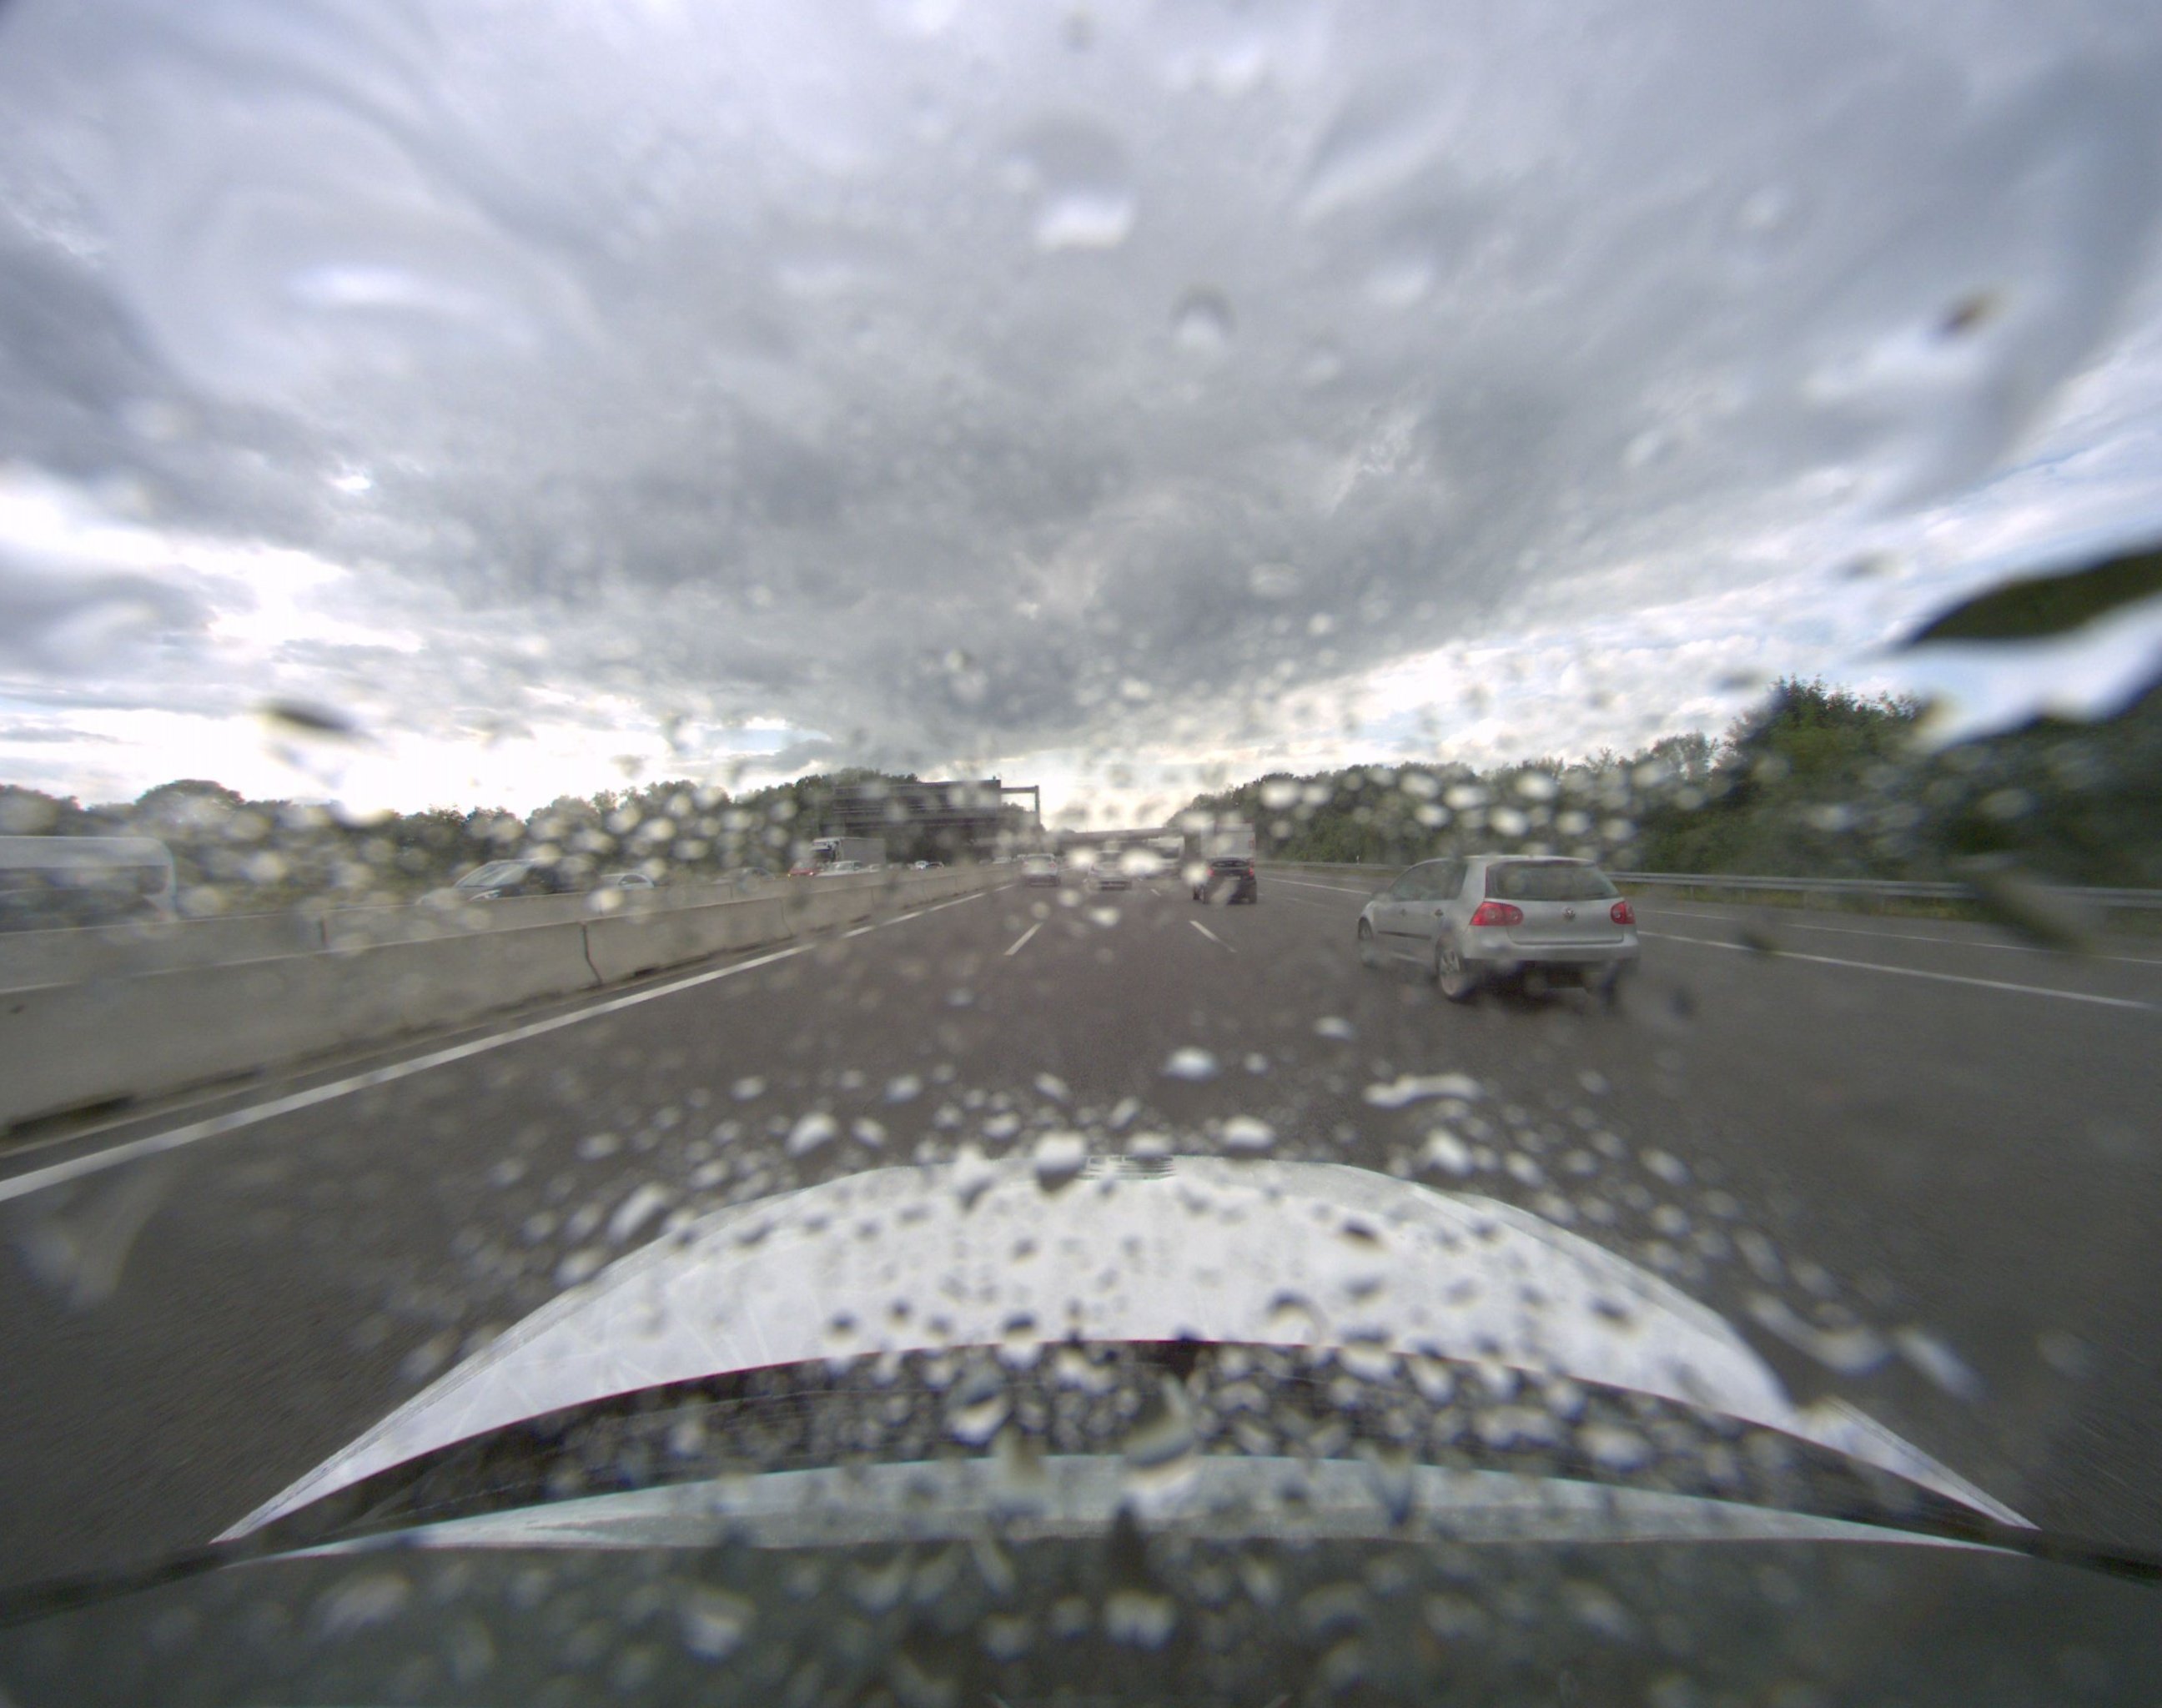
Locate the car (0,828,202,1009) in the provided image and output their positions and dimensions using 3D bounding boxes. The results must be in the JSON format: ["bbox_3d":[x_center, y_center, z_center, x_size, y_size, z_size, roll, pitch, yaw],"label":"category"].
[{"bbox_3d":[-20.956,1.192,14.849,2.651,3.277,6.563,-1,0,1],"label":"car"}]

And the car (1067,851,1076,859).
[{"bbox_3d":[-2.688,0.380,231.900,1.985,2.181,5.293,-1,0,3],"label":"car"}]

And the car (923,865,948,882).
[{"bbox_3d":[-17.407,2.326,97.798,1.986,1.891,4.364,-1,0,2],"label":"car"}]

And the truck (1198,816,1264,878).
[{"bbox_3d":[9.725,-0.420,53.899,3.120,3.709,9.856,-1,0,3],"label":"truck"}]

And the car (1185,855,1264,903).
[{"bbox_3d":[4.565,0.743,26.434,1.878,1.407,4.283,-1,0,1],"label":"car"}]

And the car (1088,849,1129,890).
[{"bbox_3d":[1.230,0.675,37.517,1.774,1.716,4.353,-1,0,1],"label":"car"}]

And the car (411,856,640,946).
[{"bbox_3d":[-12.596,0.968,18.949,1.986,1.781,4.675,-1,0,2],"label":"car"}]

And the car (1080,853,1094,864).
[{"bbox_3d":[0.799,0.568,111.604,1.774,1.481,4.355,-1,0,2],"label":"car"}]

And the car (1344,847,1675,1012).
[{"bbox_3d":[4.549,0.687,9.435,1.789,1.477,4.039,-1,0,1],"label":"car"}]

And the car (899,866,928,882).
[{"bbox_3d":[-21.526,2.570,104.689,2.421,1.952,4.832,-1,0,3],"label":"car"}]

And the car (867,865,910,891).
[{"bbox_3d":[-15.180,1.888,64.476,1.985,1.873,4.763,-1,0,2],"label":"car"}]

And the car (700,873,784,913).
[{"bbox_3d":[-16.498,1.868,39.876,1.986,1.714,4.701,-1,0,2],"label":"car"}]

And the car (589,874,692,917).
[{"bbox_3d":[-19.935,1.841,37.153,1.986,1.714,4.701,-1,0,2],"label":"car"}]

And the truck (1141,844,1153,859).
[{"bbox_3d":[17.801,-0.655,219.936,2.894,3.810,7.279,-1,0,3],"label":"truck"}]

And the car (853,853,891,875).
[{"bbox_3d":[-18.623,0.860,72.693,1.985,1.873,4.763,-1,0,2],"label":"car"}]

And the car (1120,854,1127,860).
[{"bbox_3d":[11.760,0.777,225.386,1.875,1.686,3.999,-1,0,-1],"label":"car"}]

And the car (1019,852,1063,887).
[{"bbox_3d":[-2.018,0.746,42.305,1.808,1.689,4.854,-1,0,2],"label":"car"}]

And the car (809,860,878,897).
[{"bbox_3d":[-12.178,1.226,42.112,1.986,1.714,4.874,-1,0,2],"label":"car"}]

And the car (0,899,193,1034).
[{"bbox_3d":[-17.297,1.788,12.895,1.986,1.904,4.002,-1,0,2],"label":"car"}]

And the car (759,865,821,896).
[{"bbox_3d":[-19.509,1.742,54.907,1.985,1.873,5.395,-1,0,2],"label":"car"}]

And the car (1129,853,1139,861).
[{"bbox_3d":[11.768,0.612,181.944,2.035,1.823,4.907,-1,0,3],"label":"car"}]

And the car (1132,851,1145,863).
[{"bbox_3d":[9.585,0.490,135.529,2.035,1.823,4.907,-1,0,3],"label":"car"}]

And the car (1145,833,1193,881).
[{"bbox_3d":[5.635,0.192,53.157,2.557,2.895,7.538,-1,0,2],"label":"car"}]

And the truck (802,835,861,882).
[{"bbox_3d":[-22.603,0.383,74.039,3.208,4.057,6.235,-1,0,2],"label":"truck"}]
